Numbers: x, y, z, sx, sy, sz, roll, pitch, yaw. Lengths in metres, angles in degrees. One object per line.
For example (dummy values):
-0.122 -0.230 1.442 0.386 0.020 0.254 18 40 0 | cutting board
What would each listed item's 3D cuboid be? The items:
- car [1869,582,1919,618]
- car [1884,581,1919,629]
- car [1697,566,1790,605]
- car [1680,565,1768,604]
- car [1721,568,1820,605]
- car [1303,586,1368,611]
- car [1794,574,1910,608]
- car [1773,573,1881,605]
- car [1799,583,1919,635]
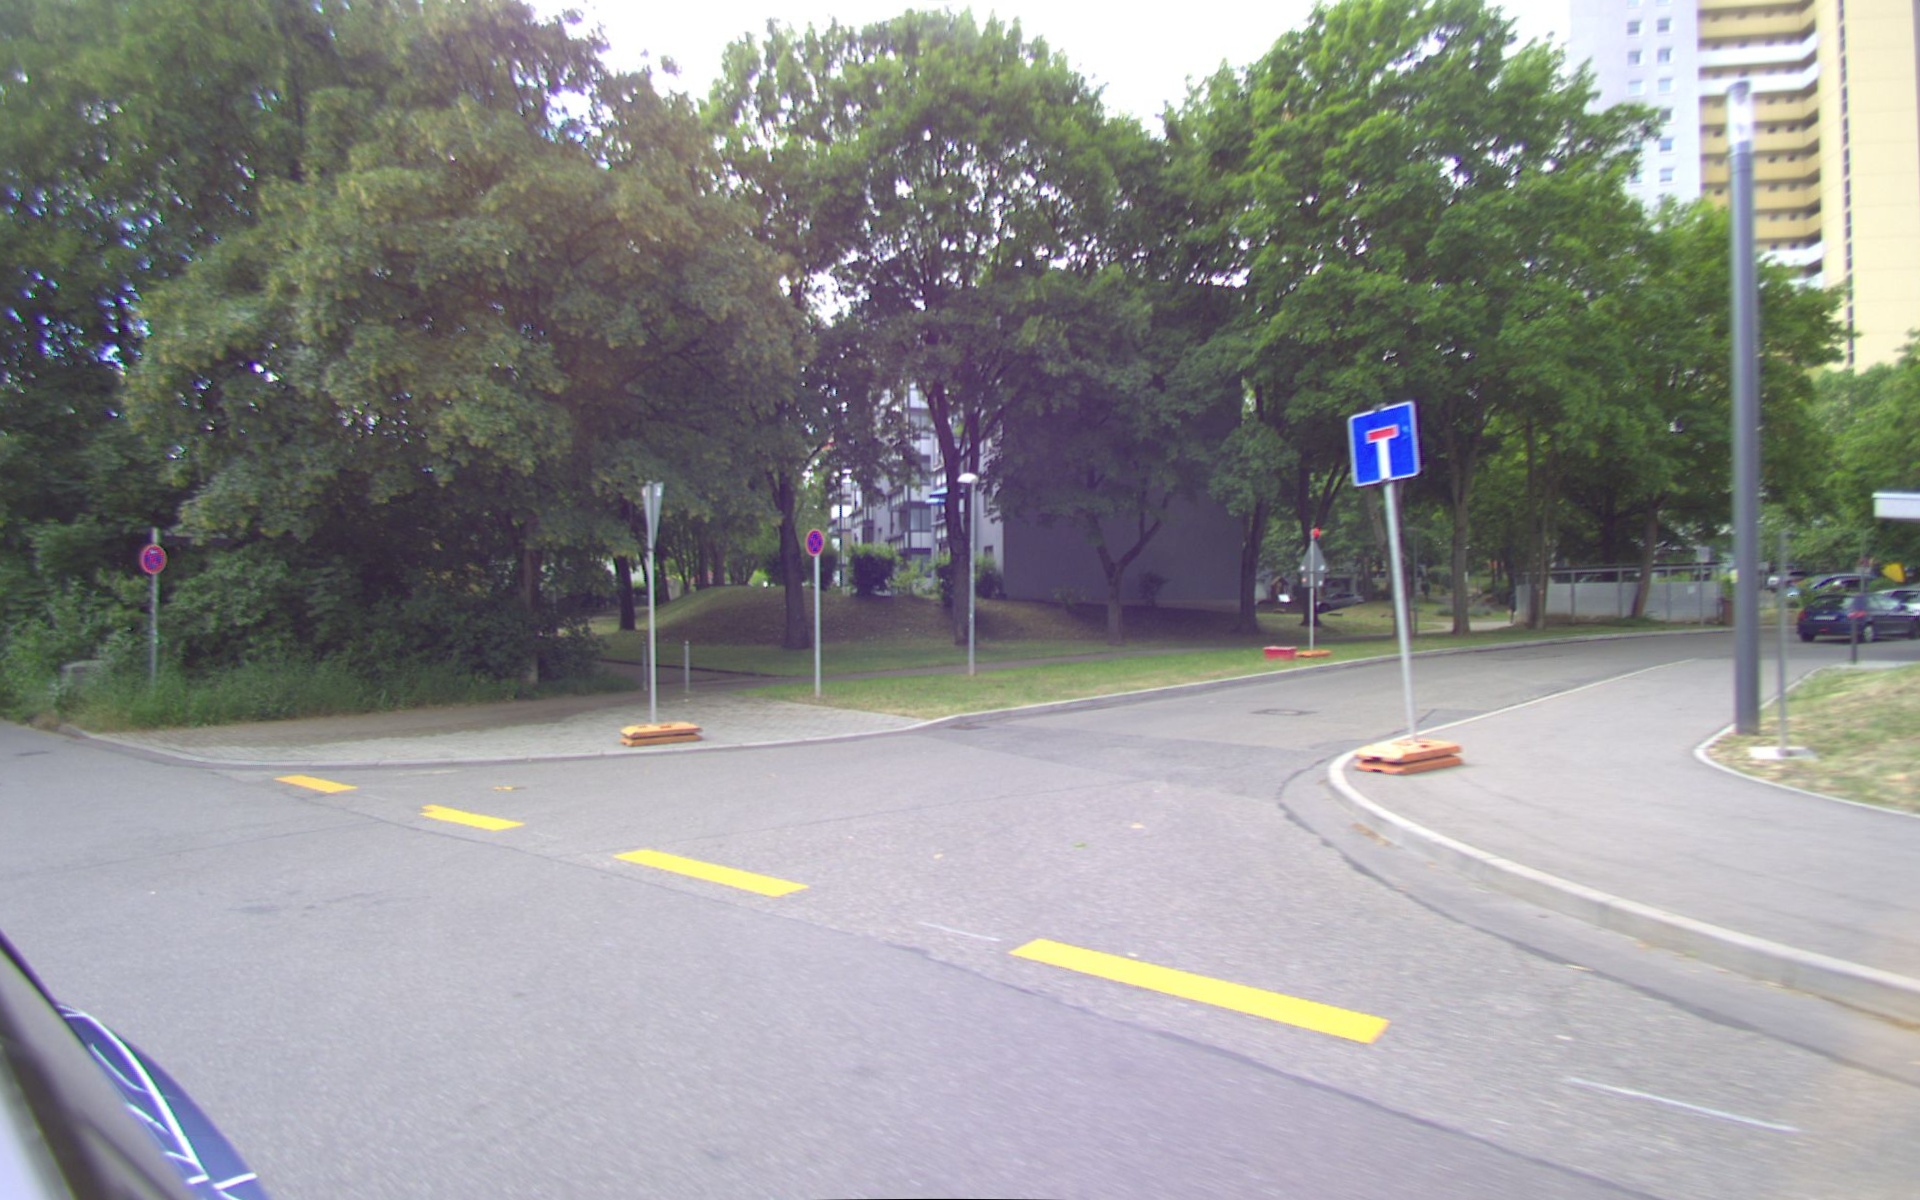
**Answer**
38.154 -0.029 39.656 1.476 1.383 3.626 -1 -1 -42 | car
29.450 0.125 30.155 3.558 1.383 1.504 -1 -1 -24 | car
41.062 -0.721 53.131 3.606 1.882 1.484 -2 -1 30 | car
41.477 -0.832 55.025 3.606 1.970 1.484 -2 -1 30 | car
40.286 -0.650 50.417 3.606 1.675 1.484 -2 -1 30 | car
27.998 -0.096 75.568 4.196 1.780 2.204 -1 -1 11 | car
39.874 -0.375 45.335 3.606 1.383 1.484 -2 -1 30 | car
41.159 -0.484 48.125 3.606 1.383 1.484 -2 -1 30 | car
25.606 0.238 28.540 3.558 1.383 1.504 -1 -1 -24 | car
